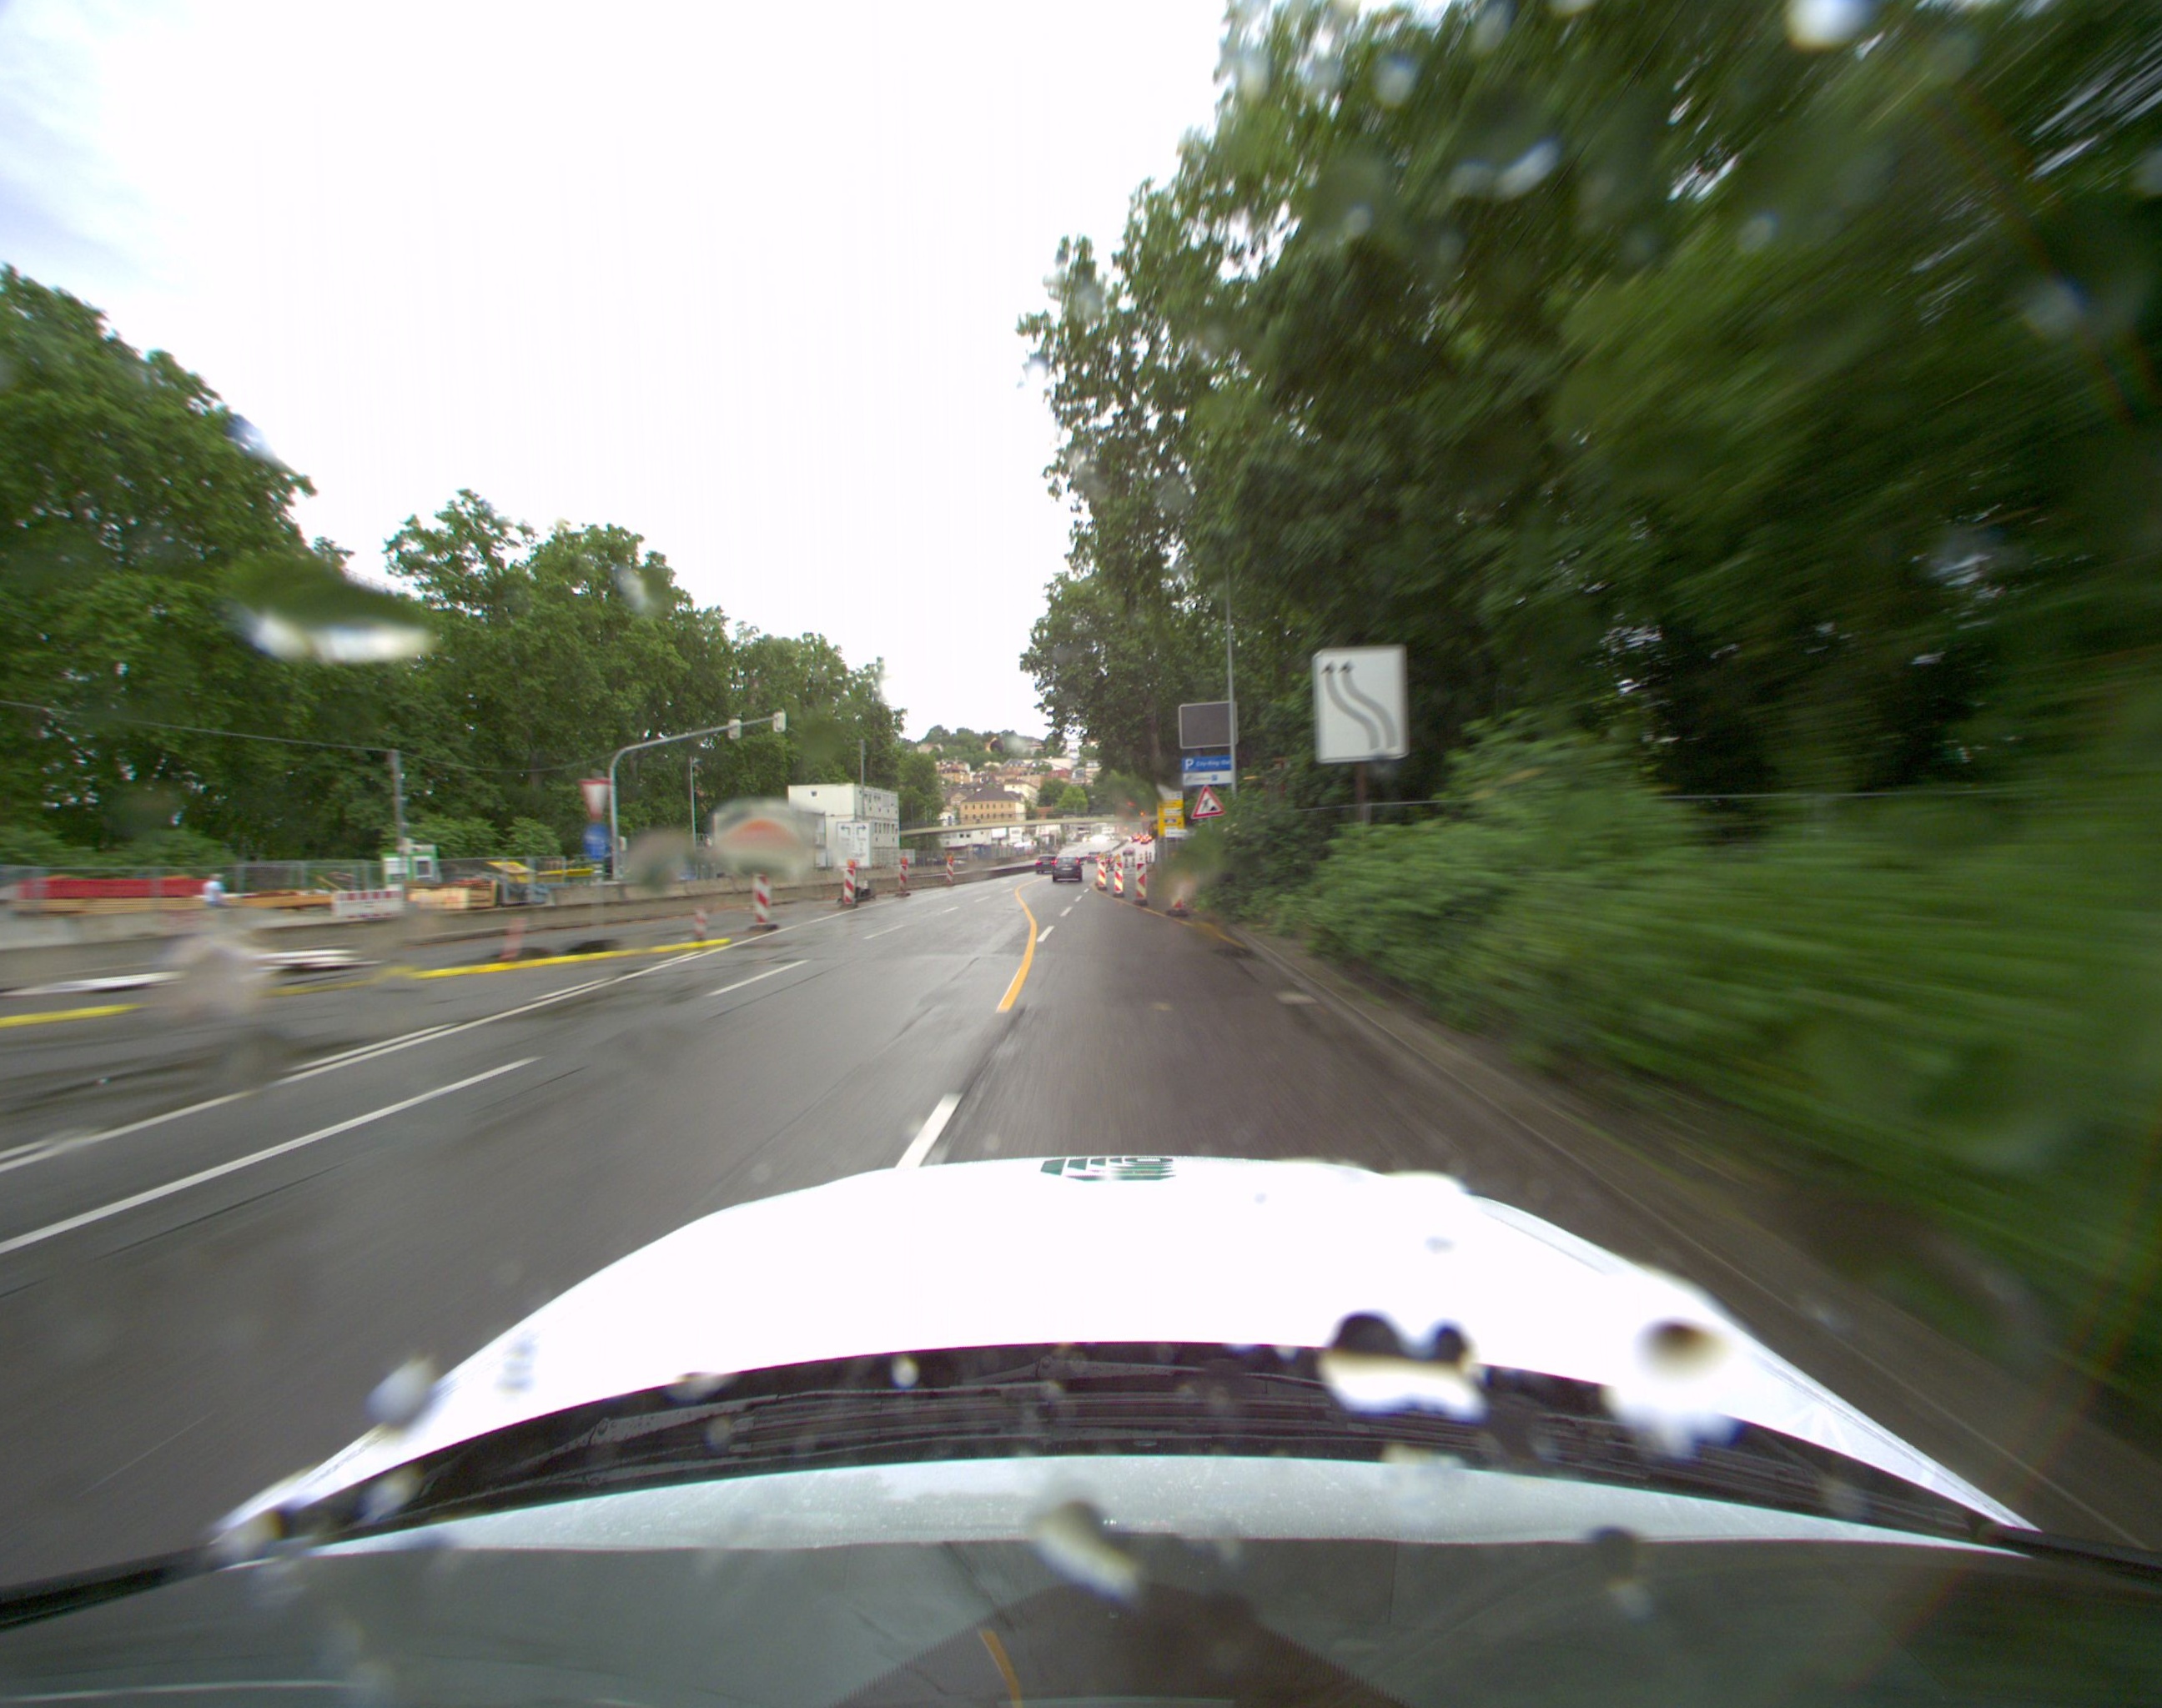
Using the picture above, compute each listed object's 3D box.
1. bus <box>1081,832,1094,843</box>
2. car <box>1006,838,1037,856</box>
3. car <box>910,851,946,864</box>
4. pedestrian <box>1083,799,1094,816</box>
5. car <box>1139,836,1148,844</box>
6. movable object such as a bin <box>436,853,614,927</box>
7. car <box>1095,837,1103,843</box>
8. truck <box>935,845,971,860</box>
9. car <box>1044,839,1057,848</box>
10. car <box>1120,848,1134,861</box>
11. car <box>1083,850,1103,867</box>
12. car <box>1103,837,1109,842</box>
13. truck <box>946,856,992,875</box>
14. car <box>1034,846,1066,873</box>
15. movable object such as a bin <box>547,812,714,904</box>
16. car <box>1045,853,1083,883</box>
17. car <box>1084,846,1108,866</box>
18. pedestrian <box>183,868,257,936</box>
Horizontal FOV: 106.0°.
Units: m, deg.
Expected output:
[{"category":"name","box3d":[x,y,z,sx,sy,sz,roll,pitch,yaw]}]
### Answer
[{"category":"bus","box3d":[1.957,-4.981,245.299,2.792,3.184,8.823,-3,1,6]},{"category":"car","box3d":[-10.256,-1.228,141.599,1.974,2.875,6.091,-3,0,33]},{"category":"car","box3d":[-20.474,0.465,109.203,4.413,1.627,1.957,-3,0,-3]},{"category":"pedestrian","box3d":[0.960,-5.977,105.063,1.139,2.060,1.063,-3,0,14]},{"category":"car","box3d":[14.885,-3.308,192.948,1.984,1.869,4.005,-3,0,4]},{"category":"movable object such as a bin","box3d":[-26.811,1.623,39.781,3.914,3.128,6.396,-3,0,4]},{"category":"car","box3d":[5.430,-4.164,240.651,2.072,1.630,4.860,-3,1,5]},{"category":"truck","box3d":[-19.956,-0.202,127.020,5.228,2.013,2.165,-3,1,1]},{"category":"car","box3d":[-6.473,-2.230,172.760,1.981,1.621,4.012,-2,2,10]},{"category":"car","box3d":[7.676,0.112,135.093,2.042,2.013,4.006,-3,0,5]},{"category":"car","box3d":[1.568,0.595,104.437,1.982,2.013,4.010,-3,0,8]},{"category":"car","box3d":[7.829,-4.485,255.166,1.700,1.489,3.458,-3,0,7]},{"category":"truck","box3d":[-16.417,1.600,119.520,6.259,2.452,2.692,-3,0,-2]},{"category":"car","box3d":[-2.432,0.395,64.955,2.007,2.013,4.006,-3,0,5]},{"category":"movable object such as a bin","box3d":[-26.605,0.218,48.817,4.728,4.803,8.369,-3,0,4]},{"category":"car","box3d":[-0.992,0.771,45.815,1.809,1.527,3.993,-3,0,-5]},{"category":"car","box3d":[1.663,0.210,87.784,2.094,2.050,4.007,-3,0,6]},{"category":"pedestrian","box3d":[-26.898,1.477,25.458,1.170,2.013,1.179,-1,0,20]}]
